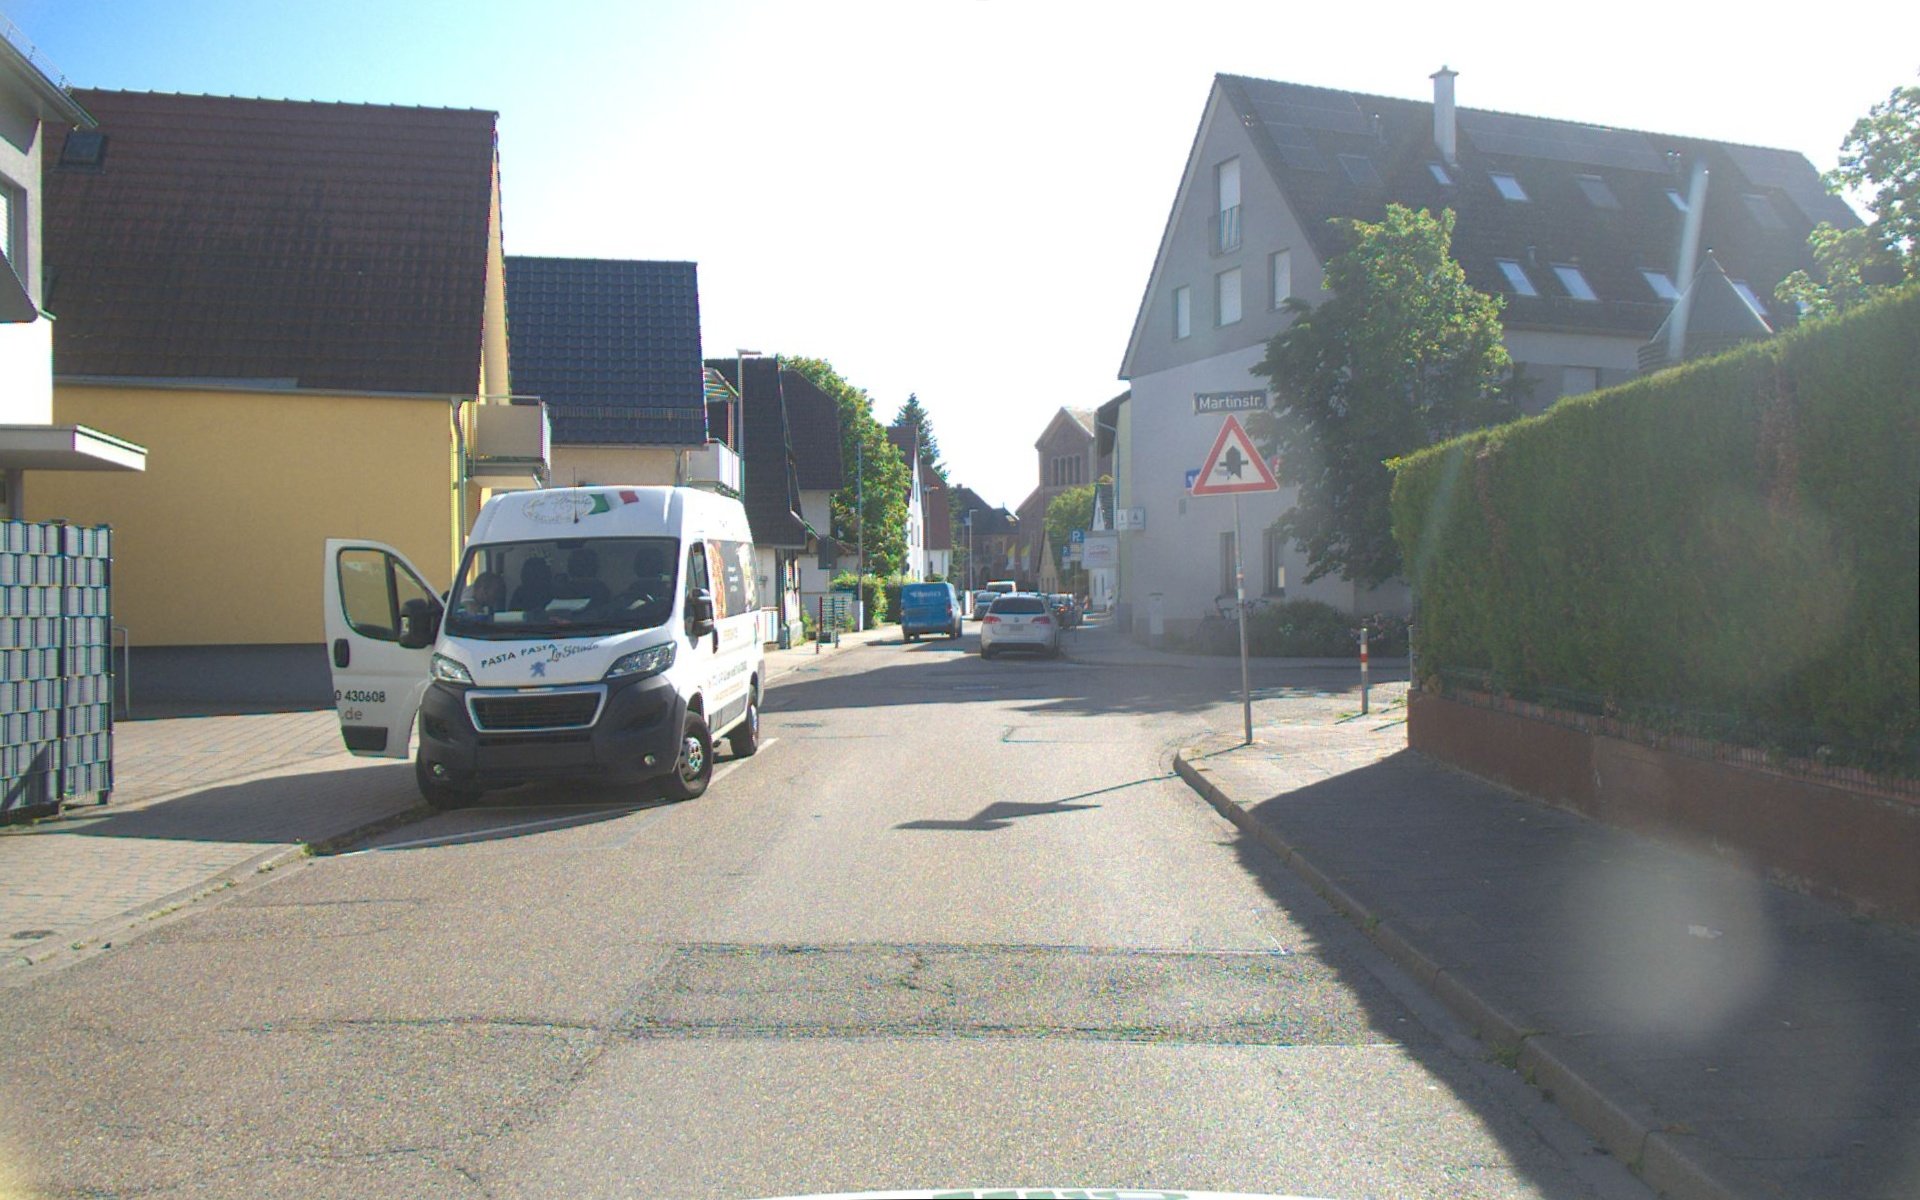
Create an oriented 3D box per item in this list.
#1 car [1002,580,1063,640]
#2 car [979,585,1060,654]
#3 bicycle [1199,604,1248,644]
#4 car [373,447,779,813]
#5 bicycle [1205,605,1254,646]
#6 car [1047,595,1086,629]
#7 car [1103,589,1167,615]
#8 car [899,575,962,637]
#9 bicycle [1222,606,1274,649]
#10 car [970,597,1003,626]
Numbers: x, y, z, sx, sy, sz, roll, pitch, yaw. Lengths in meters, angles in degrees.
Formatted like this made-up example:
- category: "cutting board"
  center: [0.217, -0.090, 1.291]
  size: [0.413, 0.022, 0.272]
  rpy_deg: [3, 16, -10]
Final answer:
- category: "car"
  center: [1.979, 0.253, 45.537]
  size: [1.576, 1.547, 3.972]
  rpy_deg: [1, 0, 2]
- category: "car"
  center: [1.464, 0.413, 39.793]
  size: [1.807, 1.540, 4.508]
  rpy_deg: [-1, 0, 3]
- category: "bicycle"
  center: [6.384, 0.588, 40.042]
  size: [1.138, 0.936, 0.313]
  rpy_deg: [-1, 0, 10]
- category: "car"
  center: [-2.999, 0.199, 14.375]
  size: [2.206, 2.513, 5.515]
  rpy_deg: [-1, 0, 0]
- category: "bicycle"
  center: [6.459, 0.607, 39.614]
  size: [1.138, 0.936, 0.313]
  rpy_deg: [-1, 0, 10]
- category: "car"
  center: [4.971, 0.533, 77.372]
  size: [1.773, 1.501, 4.662]
  rpy_deg: [0, 0, 4]
- category: "car"
  center: [11.328, 0.121, 106.878]
  size: [3.829, 1.518, 1.849]
  rpy_deg: [-2, 0, 14]
- category: "car"
  center: [-0.968, 0.188, 56.774]
  size: [1.863, 1.951, 5.071]
  rpy_deg: [-2, 0, 1]
- category: "bicycle"
  center: [6.610, 0.630, 37.992]
  size: [1.139, 0.936, 0.313]
  rpy_deg: [-1, 0, 0]
- category: "car"
  center: [1.595, 0.671, 98.086]
  size: [1.678, 1.626, 3.928]
  rpy_deg: [-2, 0, 5]
